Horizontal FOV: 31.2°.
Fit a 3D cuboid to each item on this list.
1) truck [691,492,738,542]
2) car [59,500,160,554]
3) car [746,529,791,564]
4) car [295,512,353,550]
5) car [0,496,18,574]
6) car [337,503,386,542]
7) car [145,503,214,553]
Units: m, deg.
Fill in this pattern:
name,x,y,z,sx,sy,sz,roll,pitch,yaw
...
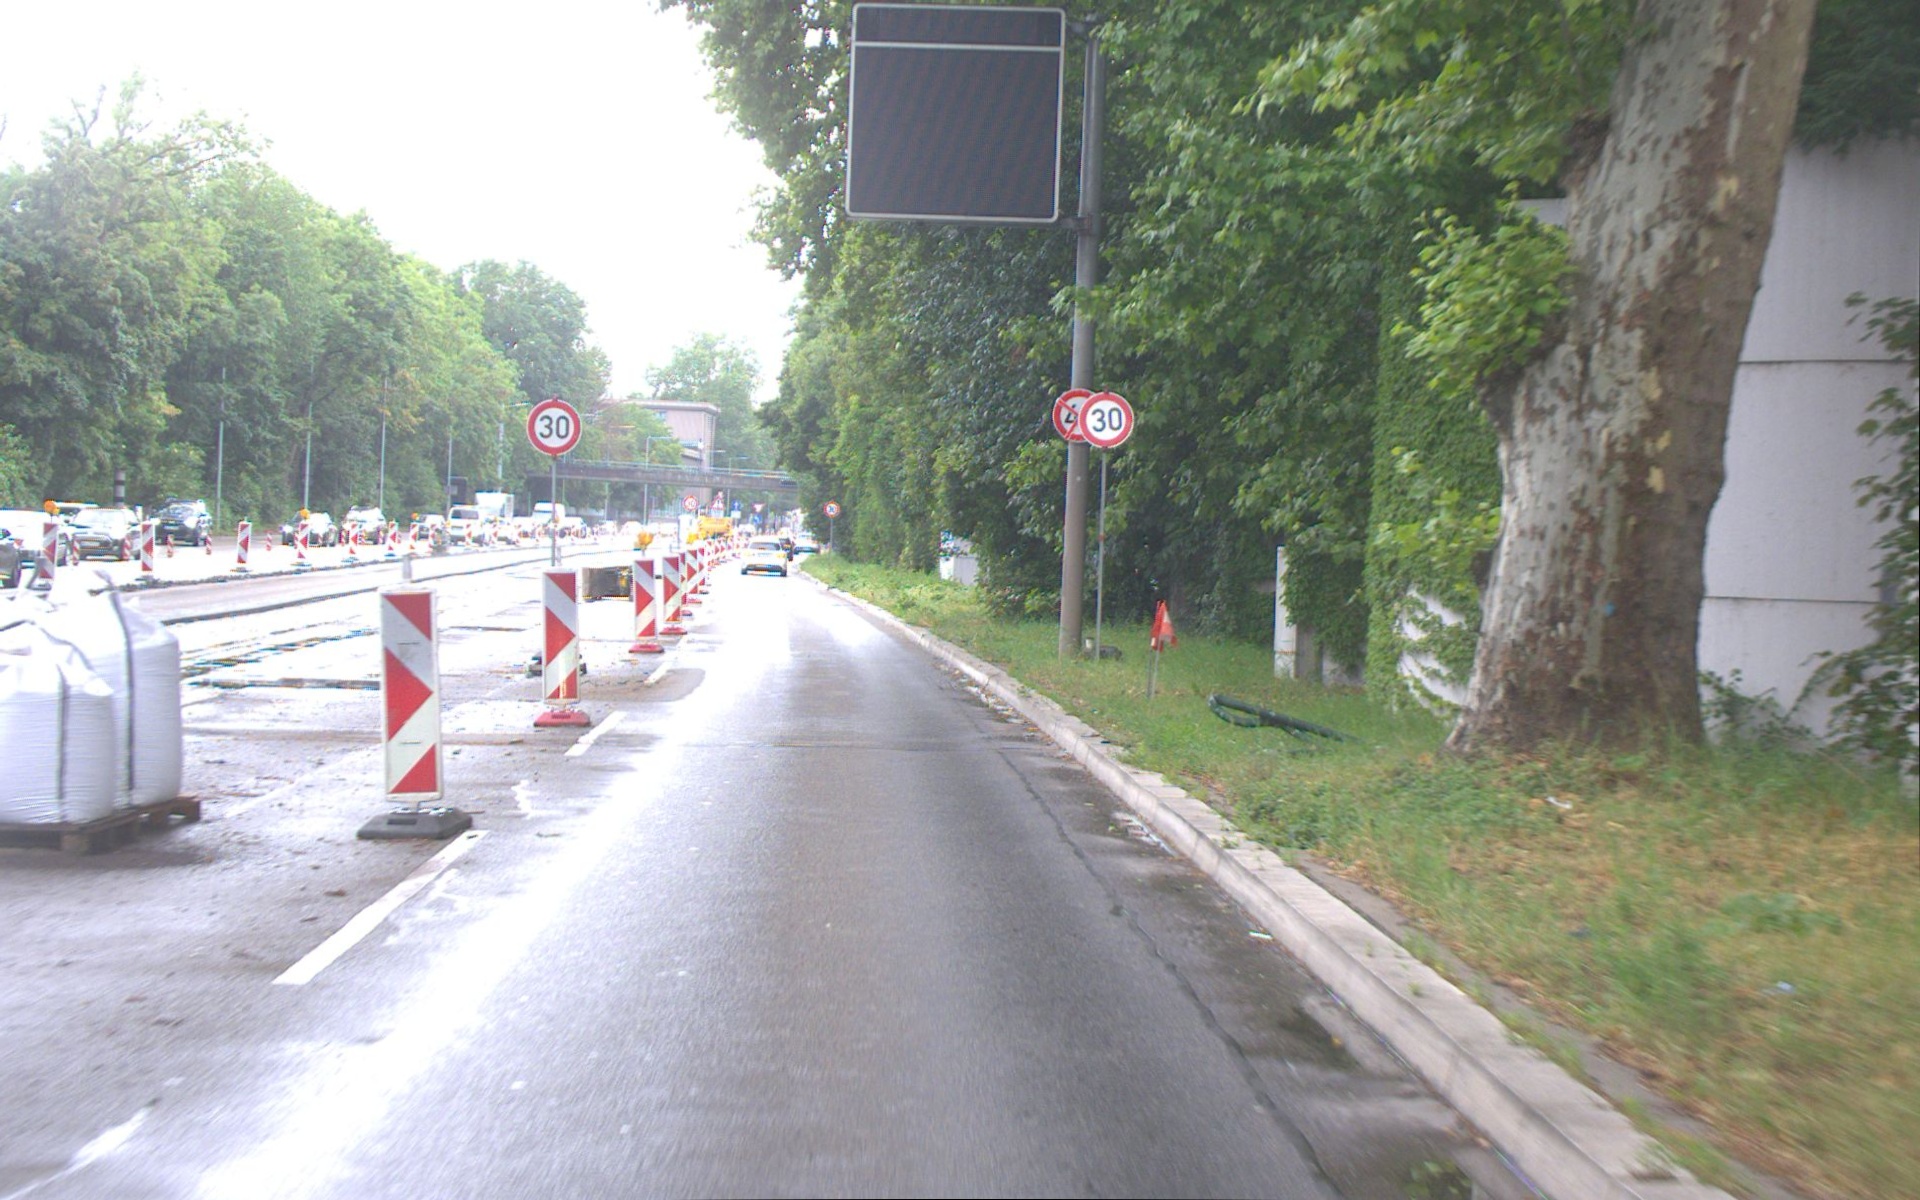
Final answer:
name,x,y,z,sx,sy,sz,roll,pitch,yaw
truck,-18.263,-6.196,256.401,3.259,3.485,13.873,2,1,-4
car,-22.221,-1.911,89.944,1.817,1.351,4.205,1,1,-4
car,-7.507,-2.113,135.191,1.697,1.331,3.491,0,1,-2
car,-26.000,-2.824,140.622,1.760,1.478,4.901,2,1,-4
car,-18.056,-1.177,61.302,1.607,1.399,4.042,2,1,-4
car,-27.752,-3.580,159.433,1.734,1.716,4.495,2,1,-4
car,-28.283,-2.618,124.714,1.653,1.679,4.534,3,1,-4
